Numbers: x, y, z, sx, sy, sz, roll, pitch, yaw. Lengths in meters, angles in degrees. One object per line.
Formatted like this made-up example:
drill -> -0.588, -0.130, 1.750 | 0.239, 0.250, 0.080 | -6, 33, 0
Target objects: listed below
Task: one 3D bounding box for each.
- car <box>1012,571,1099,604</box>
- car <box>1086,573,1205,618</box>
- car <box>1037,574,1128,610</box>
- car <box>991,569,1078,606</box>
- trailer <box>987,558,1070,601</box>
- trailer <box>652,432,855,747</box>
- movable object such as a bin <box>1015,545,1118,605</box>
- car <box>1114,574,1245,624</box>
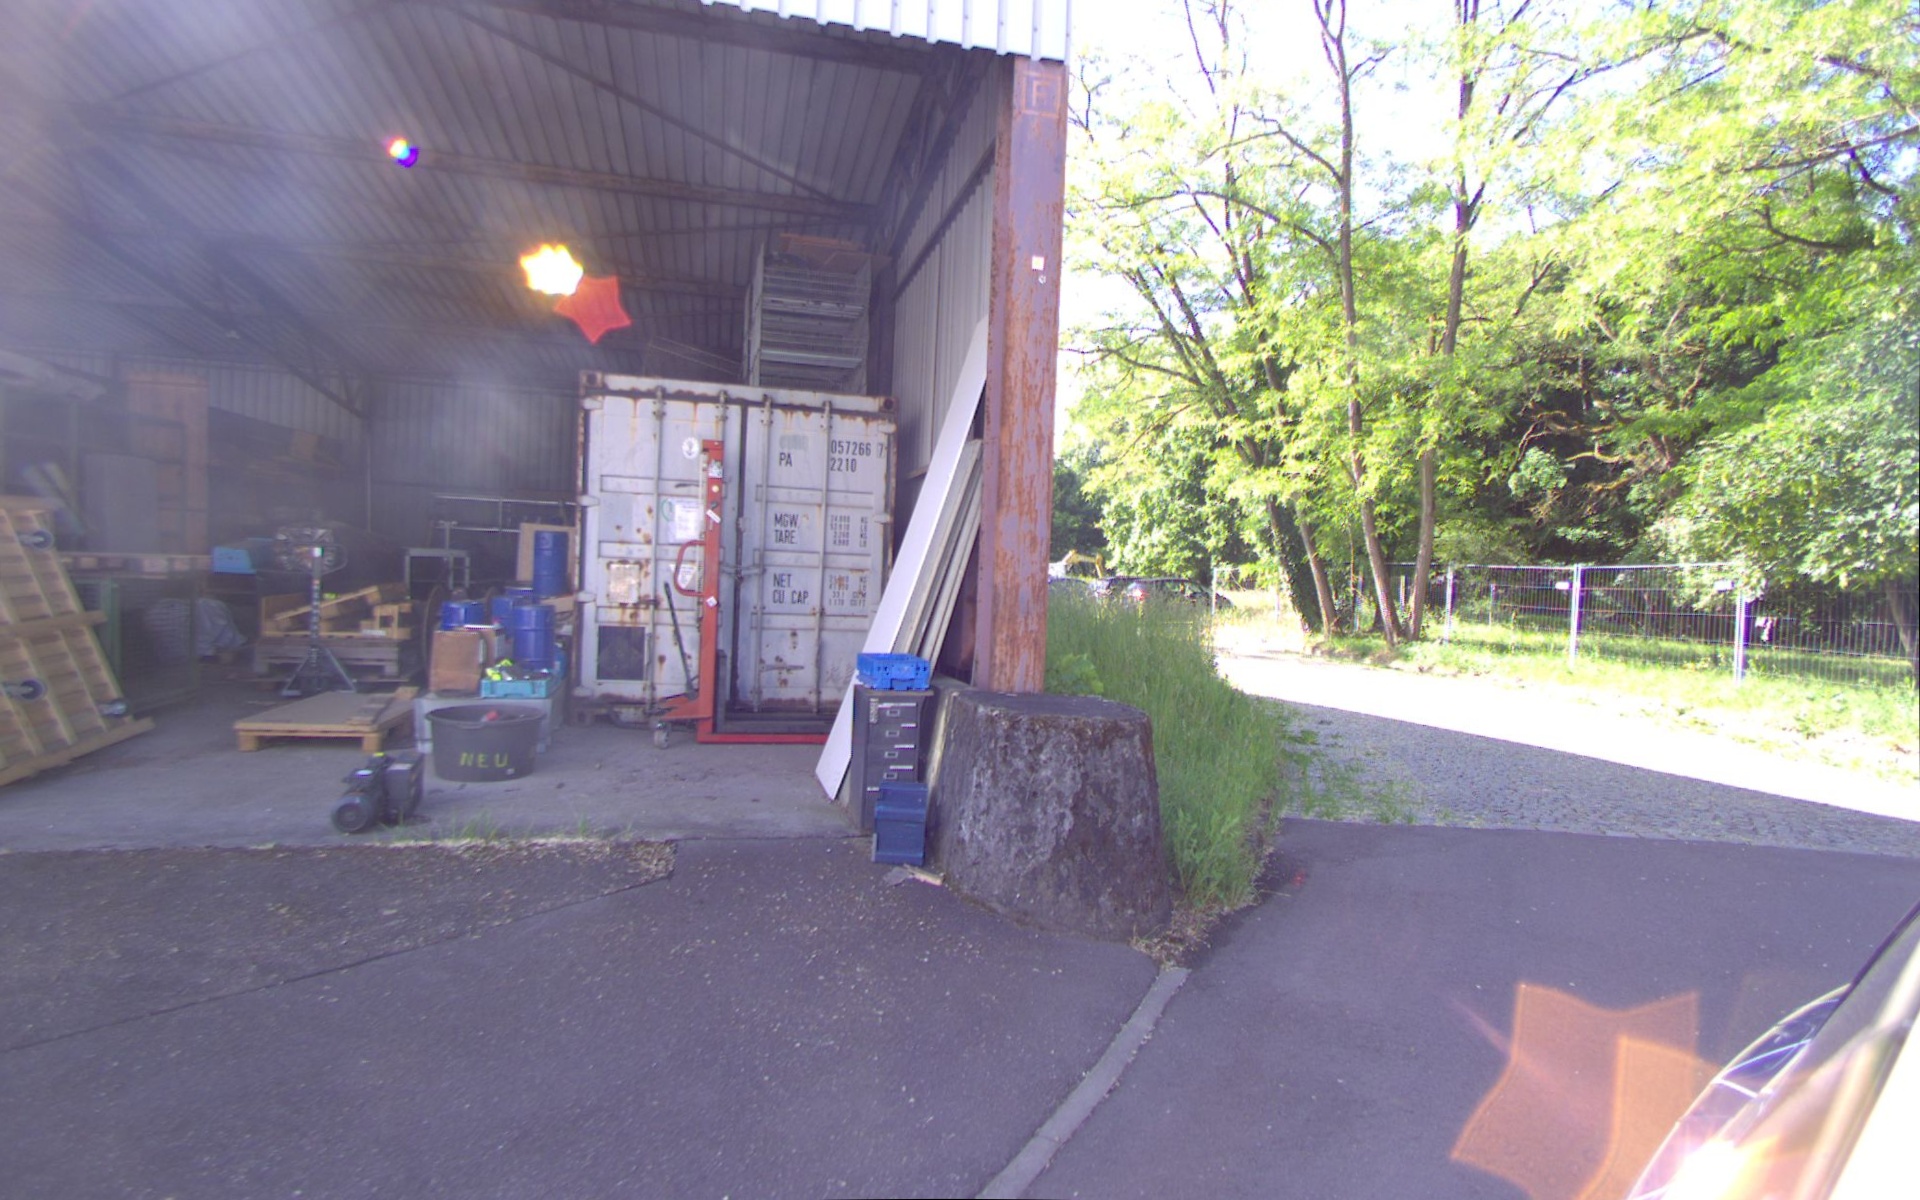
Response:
car -> 4.388, -0.586, 46.691 | 3.587, 1.469, 1.838 | 0, 2, -13
car -> 7.138, -0.198, 39.021 | 4.102, 1.676, 1.822 | 0, 2, -14
car -> 5.348, -0.373, 44.275 | 3.587, 1.511, 1.718 | 0, 2, -11
car -> 3.583, -0.611, 49.013 | 3.741, 1.661, 1.872 | 1, 1, -11
trailer -> 3.492, -1.039, 51.928 | 3.890, 2.120, 1.643 | 0, 1, -13
trailer -> -1.487, -0.050, 7.257 | 1.257, 2.094, 0.583 | 4, -1, -17
movable object such as a bin -> 5.742, -1.355, 54.864 | 5.058, 3.003, 2.004 | 2, 1, -9
car -> 7.772, -0.081, 35.963 | 4.210, 1.672, 1.798 | -1, 2, -18
